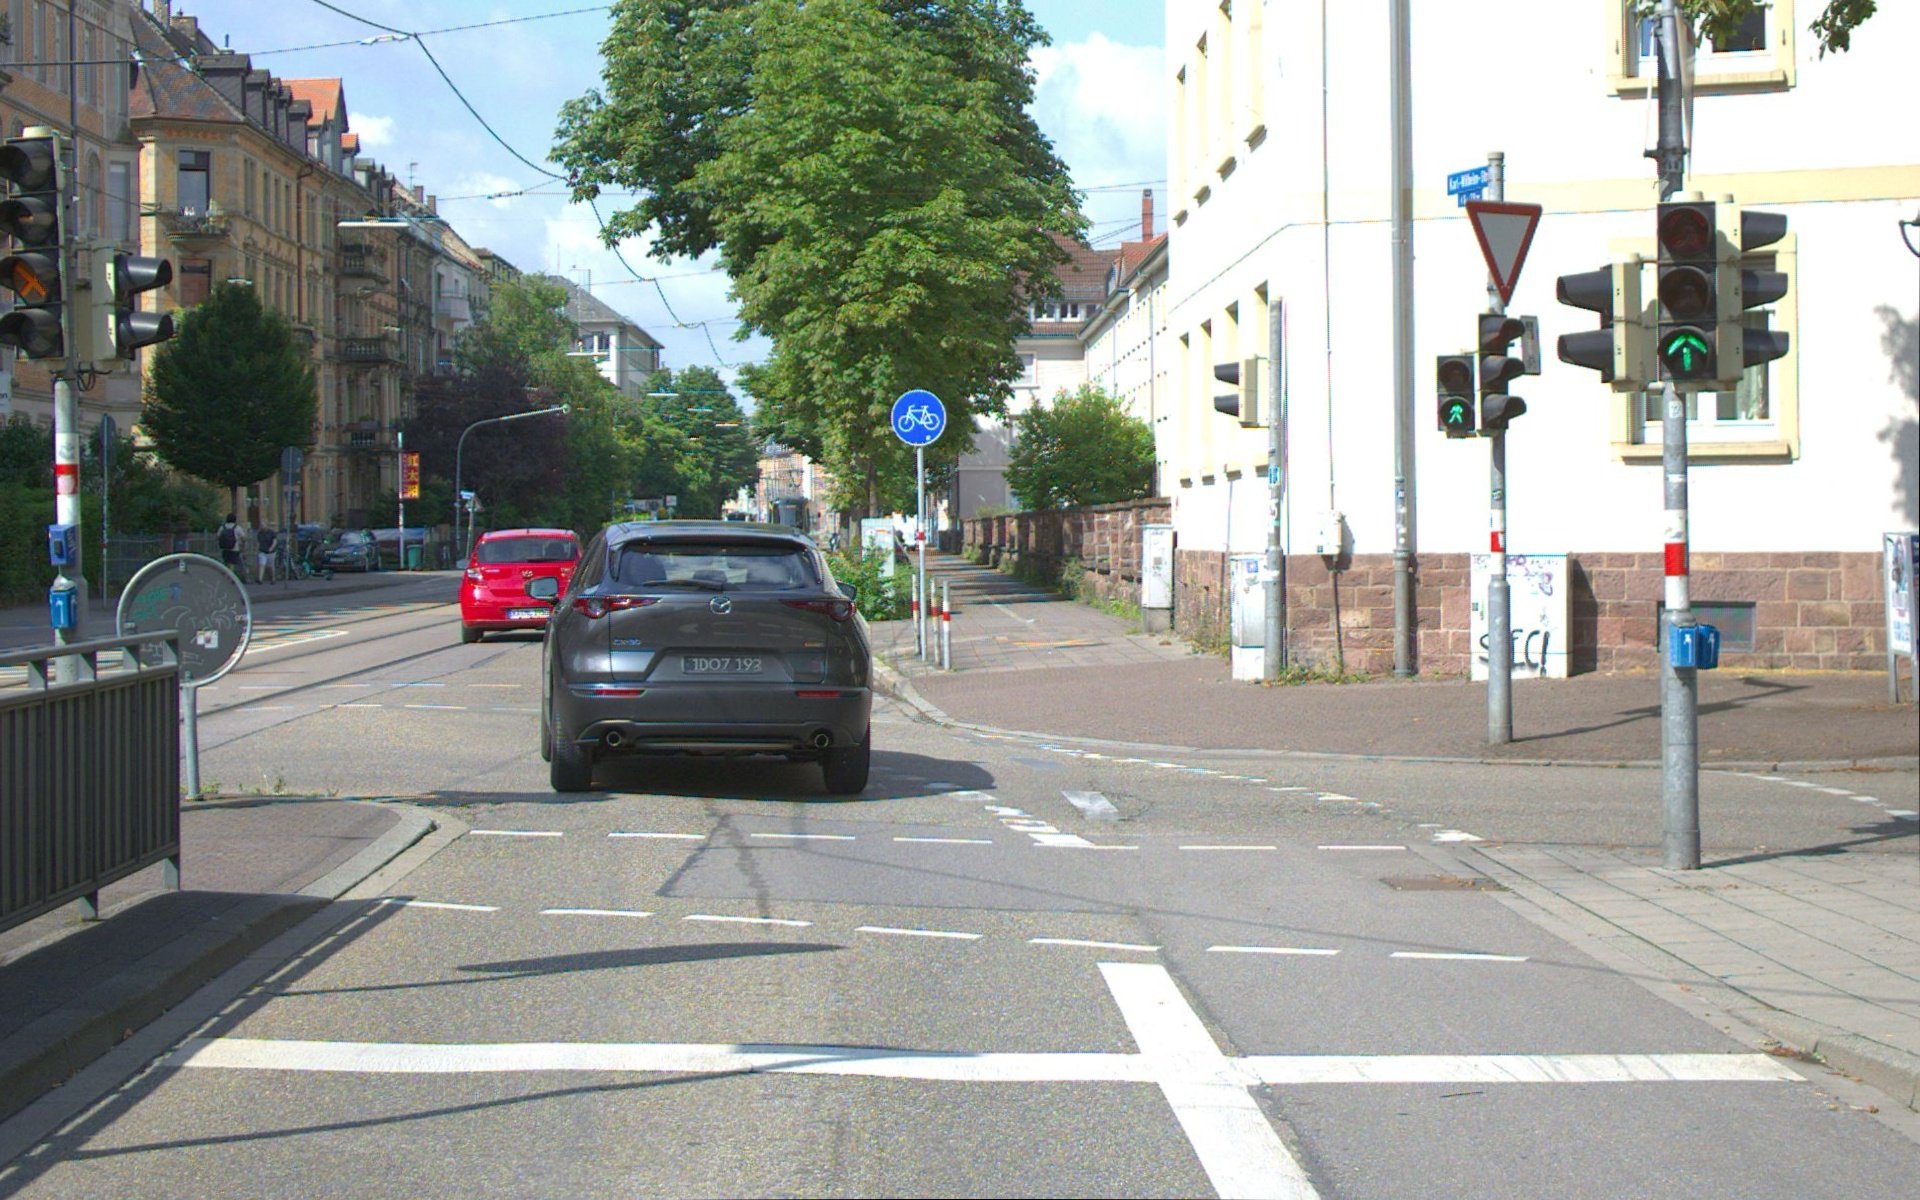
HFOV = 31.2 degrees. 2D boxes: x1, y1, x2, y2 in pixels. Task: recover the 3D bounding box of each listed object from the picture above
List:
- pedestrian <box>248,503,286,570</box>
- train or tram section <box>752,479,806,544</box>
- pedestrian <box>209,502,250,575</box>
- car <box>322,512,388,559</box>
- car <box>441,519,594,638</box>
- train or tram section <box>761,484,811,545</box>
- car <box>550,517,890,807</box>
[{"bbox_3d":[-17.592,-1.614,87.317,0.788,1.682,0.732,0,1,1],"label":"pedestrian"},{"bbox_3d":[-11.508,-5.593,220.133,2.997,3.970,13.810,0,1,-1],"label":"train or tram section"},{"bbox_3d":[-17.061,-1.435,80.308,0.788,1.682,0.732,0,1,1],"label":"pedestrian"},{"bbox_3d":[-20.998,-2.265,119.430,1.657,1.590,3.930,0,1,-2],"label":"car"},{"bbox_3d":[-5.903,-0.315,45.528,1.775,1.459,3.844,1,2,-11],"label":"car"},{"bbox_3d":[-11.801,-5.751,233.951,2.997,3.970,13.810,0,1,-1],"label":"train or tram section"},{"bbox_3d":[-1.523,0.291,20.525,1.782,1.509,4.001,2,1,-7],"label":"car"}]
